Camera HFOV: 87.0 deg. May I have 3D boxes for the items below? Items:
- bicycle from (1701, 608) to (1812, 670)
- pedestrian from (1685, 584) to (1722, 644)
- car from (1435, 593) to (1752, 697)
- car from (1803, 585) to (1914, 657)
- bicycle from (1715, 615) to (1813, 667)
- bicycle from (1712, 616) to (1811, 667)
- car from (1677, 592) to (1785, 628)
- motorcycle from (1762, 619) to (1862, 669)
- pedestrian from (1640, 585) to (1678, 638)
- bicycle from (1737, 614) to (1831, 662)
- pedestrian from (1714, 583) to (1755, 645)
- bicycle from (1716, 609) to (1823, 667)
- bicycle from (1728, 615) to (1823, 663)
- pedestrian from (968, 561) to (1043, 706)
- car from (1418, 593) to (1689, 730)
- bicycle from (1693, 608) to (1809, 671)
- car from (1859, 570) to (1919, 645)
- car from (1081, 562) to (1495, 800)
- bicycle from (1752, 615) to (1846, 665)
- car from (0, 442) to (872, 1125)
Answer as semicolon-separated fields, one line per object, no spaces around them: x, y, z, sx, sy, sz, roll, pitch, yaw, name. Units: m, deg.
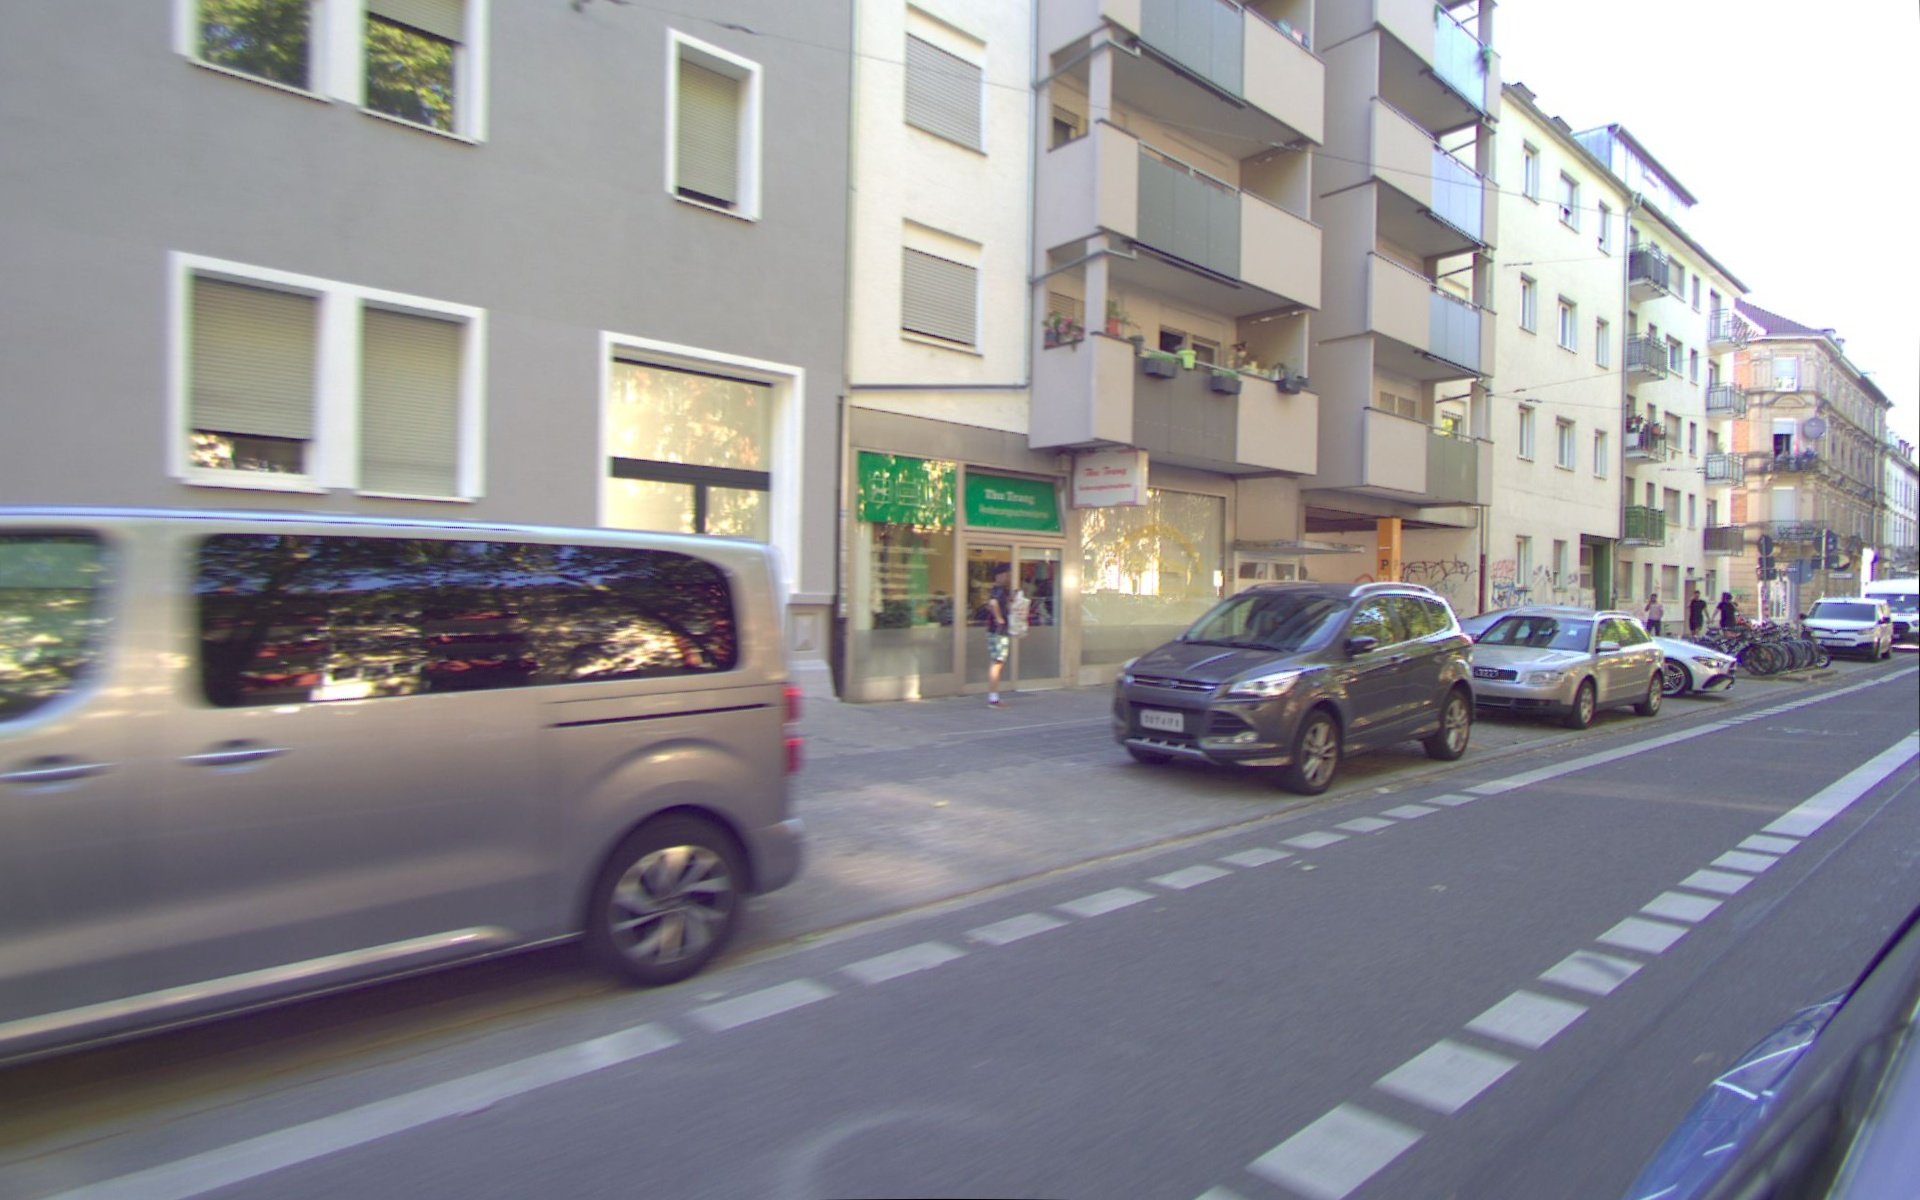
17.539;0.833;22.332;0.449;1.206;1.827;0;3;-40;bicycle
23.242;0.422;31.648;1.062;1.845;0.626;0;2;-39;pedestrian
11.257;0.697;18.170;4.607;1.455;1.838;3;2;39;car
26.752;0.553;30.087;4.276;1.841;1.863;-1;5;-41;car
18.239;0.907;22.983;0.449;1.033;1.656;0;3;-40;bicycle
17.902;0.913;22.637;0.449;0.978;1.656;0;3;-40;bicycle
35.612;0.450;46.808;1.757;1.594;3.659;-1;0;-38;car
21.010;1.058;25.012;0.604;1.093;1.829;1;2;-17;motorcycle
22.508;0.361;32.596;0.916;1.598;0.634;0;6;-39;pedestrian
19.751;0.902;24.279;0.449;0.999;1.656;0;3;-40;bicycle
23.649;0.413;30.882;1.062;1.845;0.711;0;2;-39;pedestrian
18.701;0.853;23.412;0.692;1.162;1.798;0;3;-40;bicycle
19.247;0.906;23.926;0.449;0.999;1.656;0;3;-40;bicycle
0.565;0.401;12.689;0.705;1.741;0.760;1;0;-17;pedestrian
8.153;0.704;13.736;4.431;1.544;1.728;0;1;-39;car
17.181;0.832;22.021;0.449;1.206;1.896;0;3;-40;bicycle
34.538;0.234;36.709;5.982;2.526;2.153;0;1;-41;car
3.195;0.565;9.391;4.209;1.726;1.769;0;1;-42;car
20.281;0.948;24.480;0.449;1.068;1.656;0;3;-40;bicycle
-2.866;0.496;3.884;4.836;1.913;1.863;0;1;-39;car
